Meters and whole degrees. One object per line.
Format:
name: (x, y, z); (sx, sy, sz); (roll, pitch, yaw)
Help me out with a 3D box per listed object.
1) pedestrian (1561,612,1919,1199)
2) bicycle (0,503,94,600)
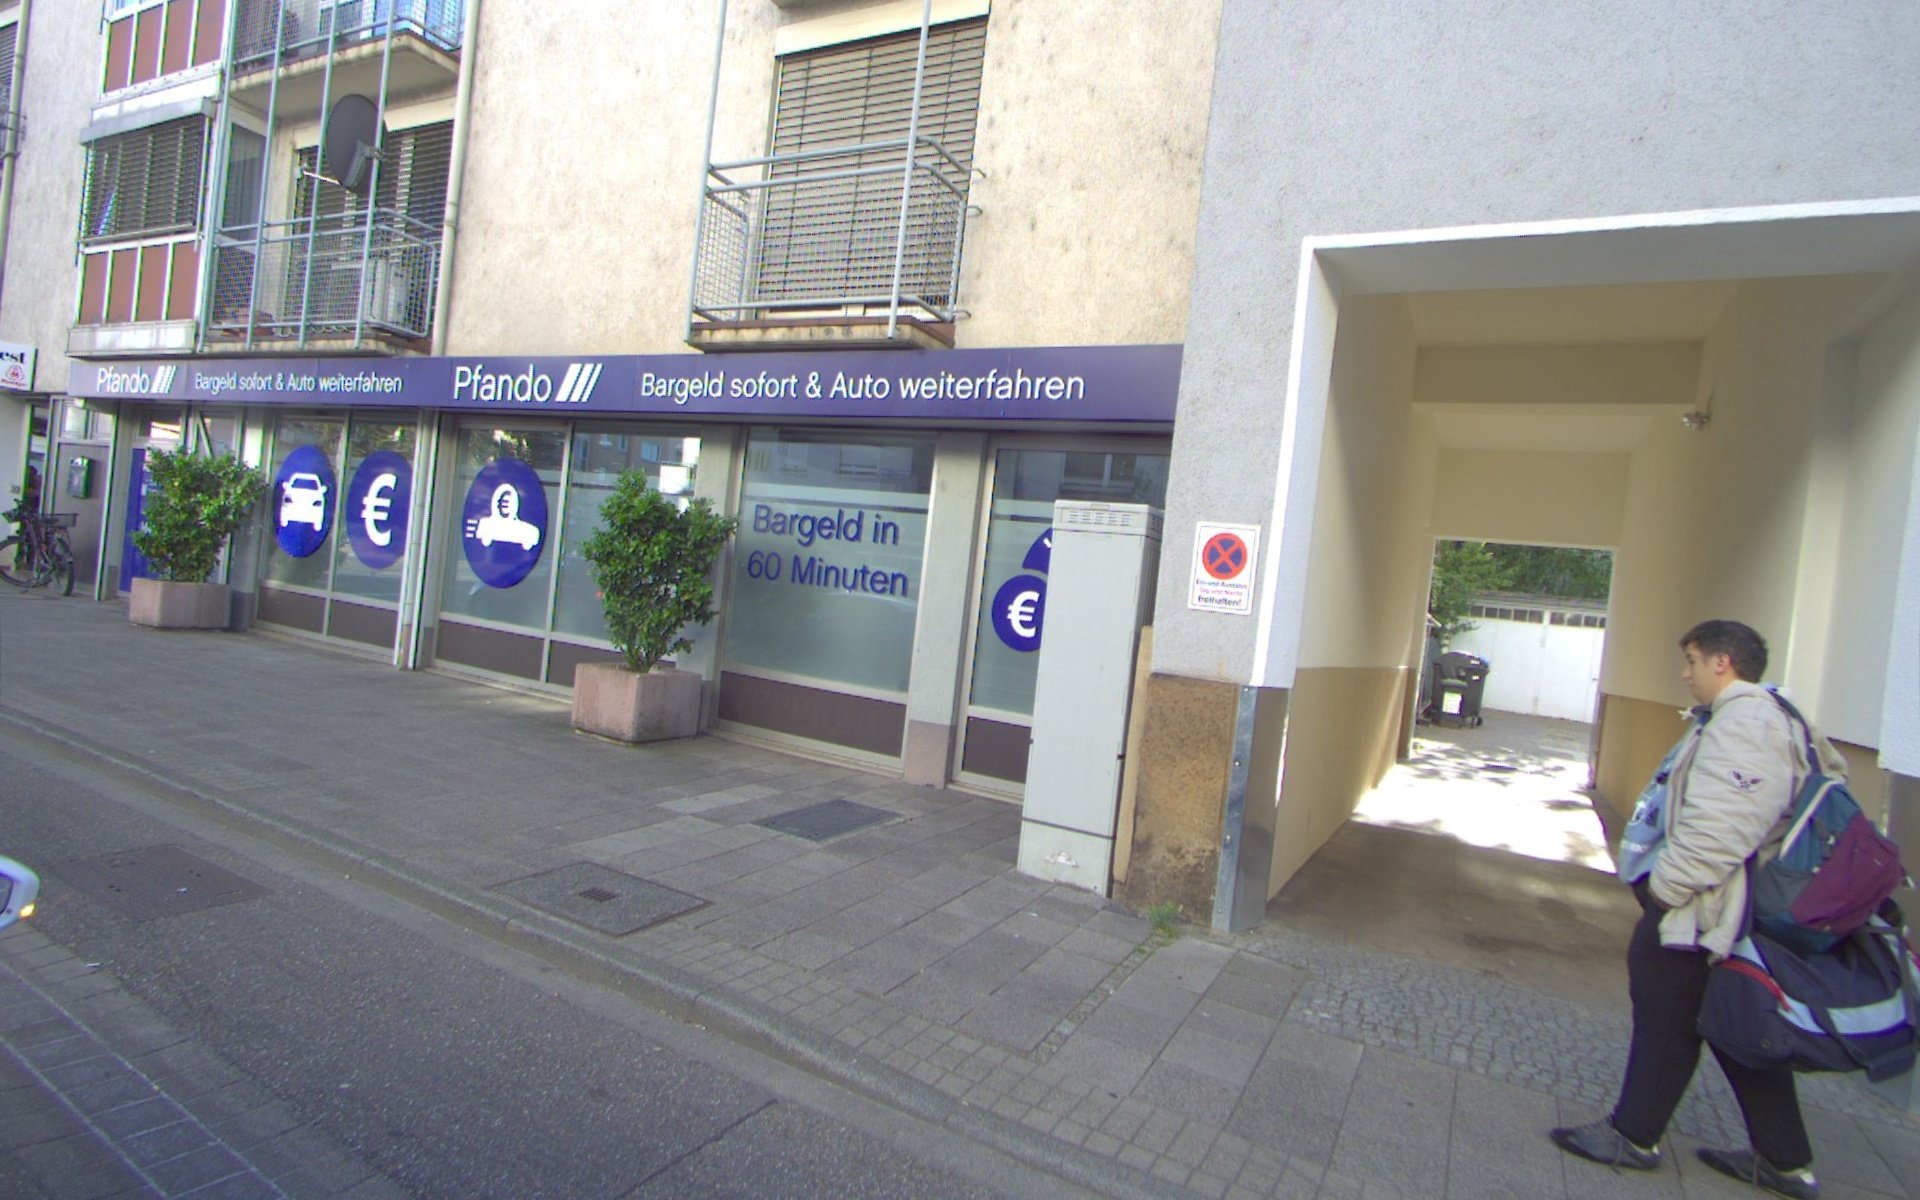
pedestrian: (2.265, 0.860, 2.780); (0.854, 1.555, 0.825); (7, 3, 30)
bicycle: (-11.895, -0.646, 12.903); (1.779, 1.086, 0.531); (7, 1, 28)
